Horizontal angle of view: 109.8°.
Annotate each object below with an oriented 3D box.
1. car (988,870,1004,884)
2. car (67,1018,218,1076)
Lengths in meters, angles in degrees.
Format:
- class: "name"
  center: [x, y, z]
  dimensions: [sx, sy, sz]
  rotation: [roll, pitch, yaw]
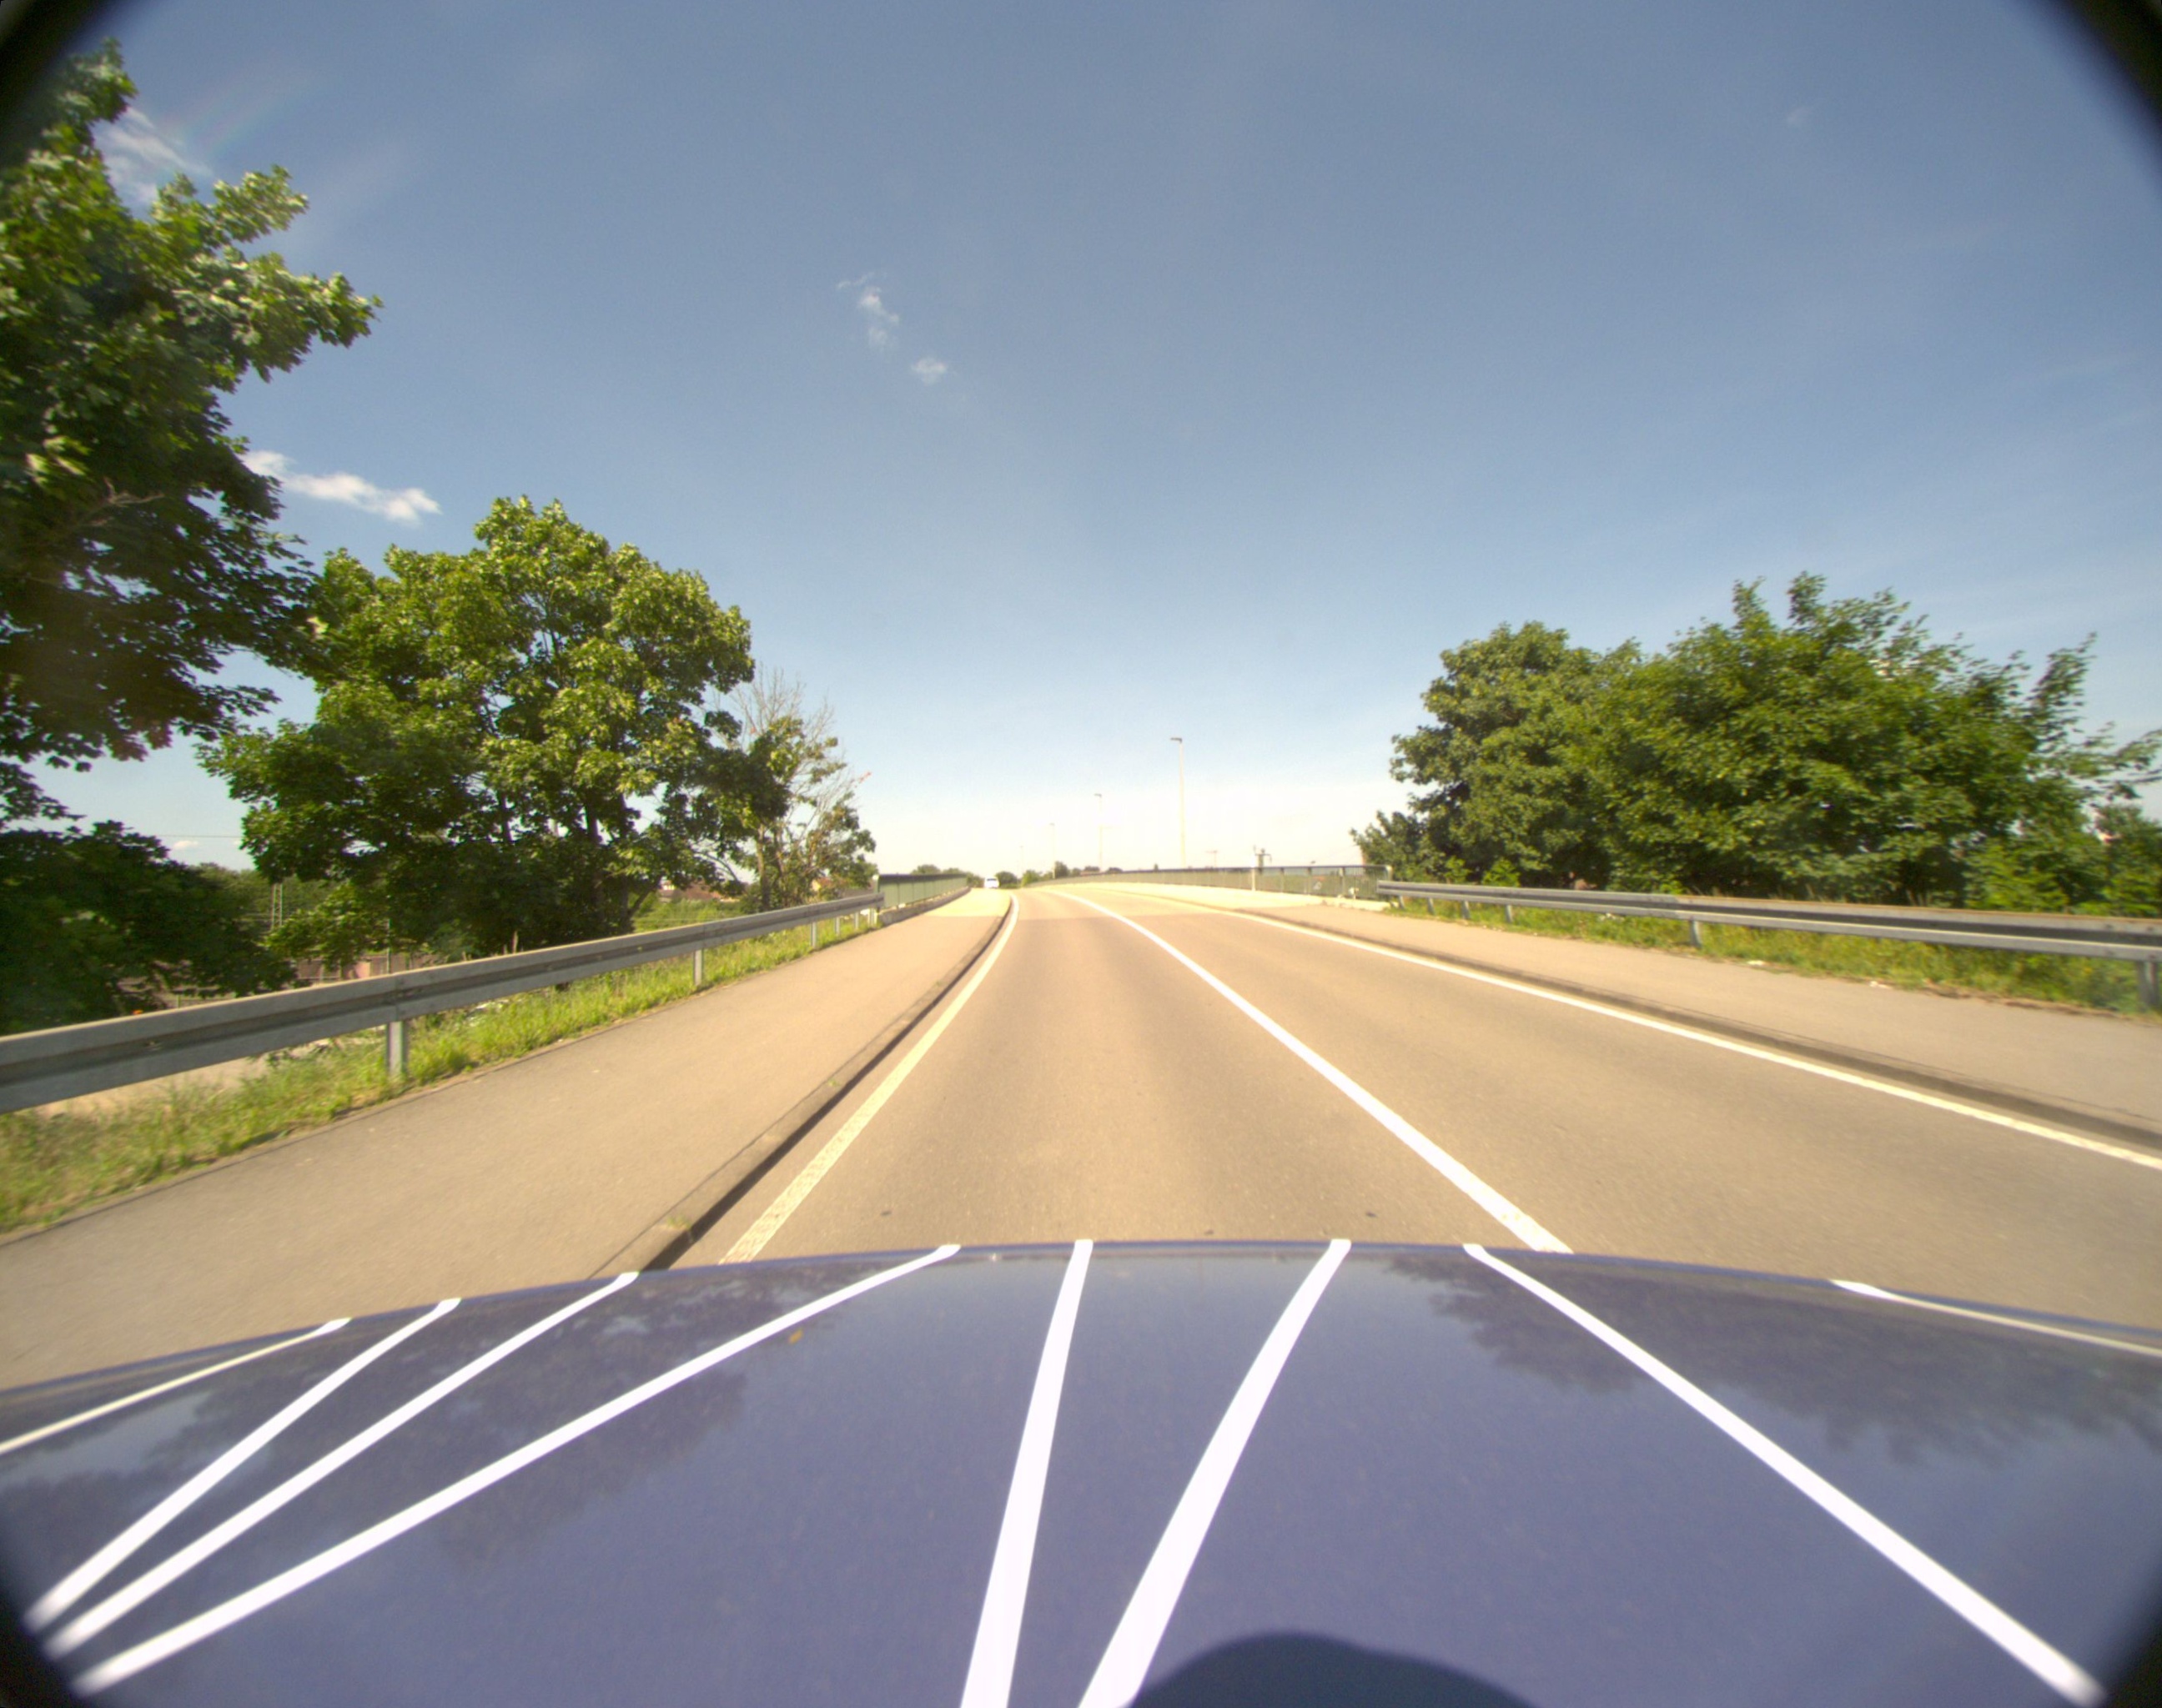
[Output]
- class: "car"
  center: [-11.610, 3.107, 103.487]
  dimensions: [2.094, 1.750, 4.280]
  rotation: [-2, -1, -8]
- class: "car"
  center: [-43.808, 8.950, 35.636]
  dimensions: [2.000, 1.585, 4.243]
  rotation: [-5, -1, -7]
